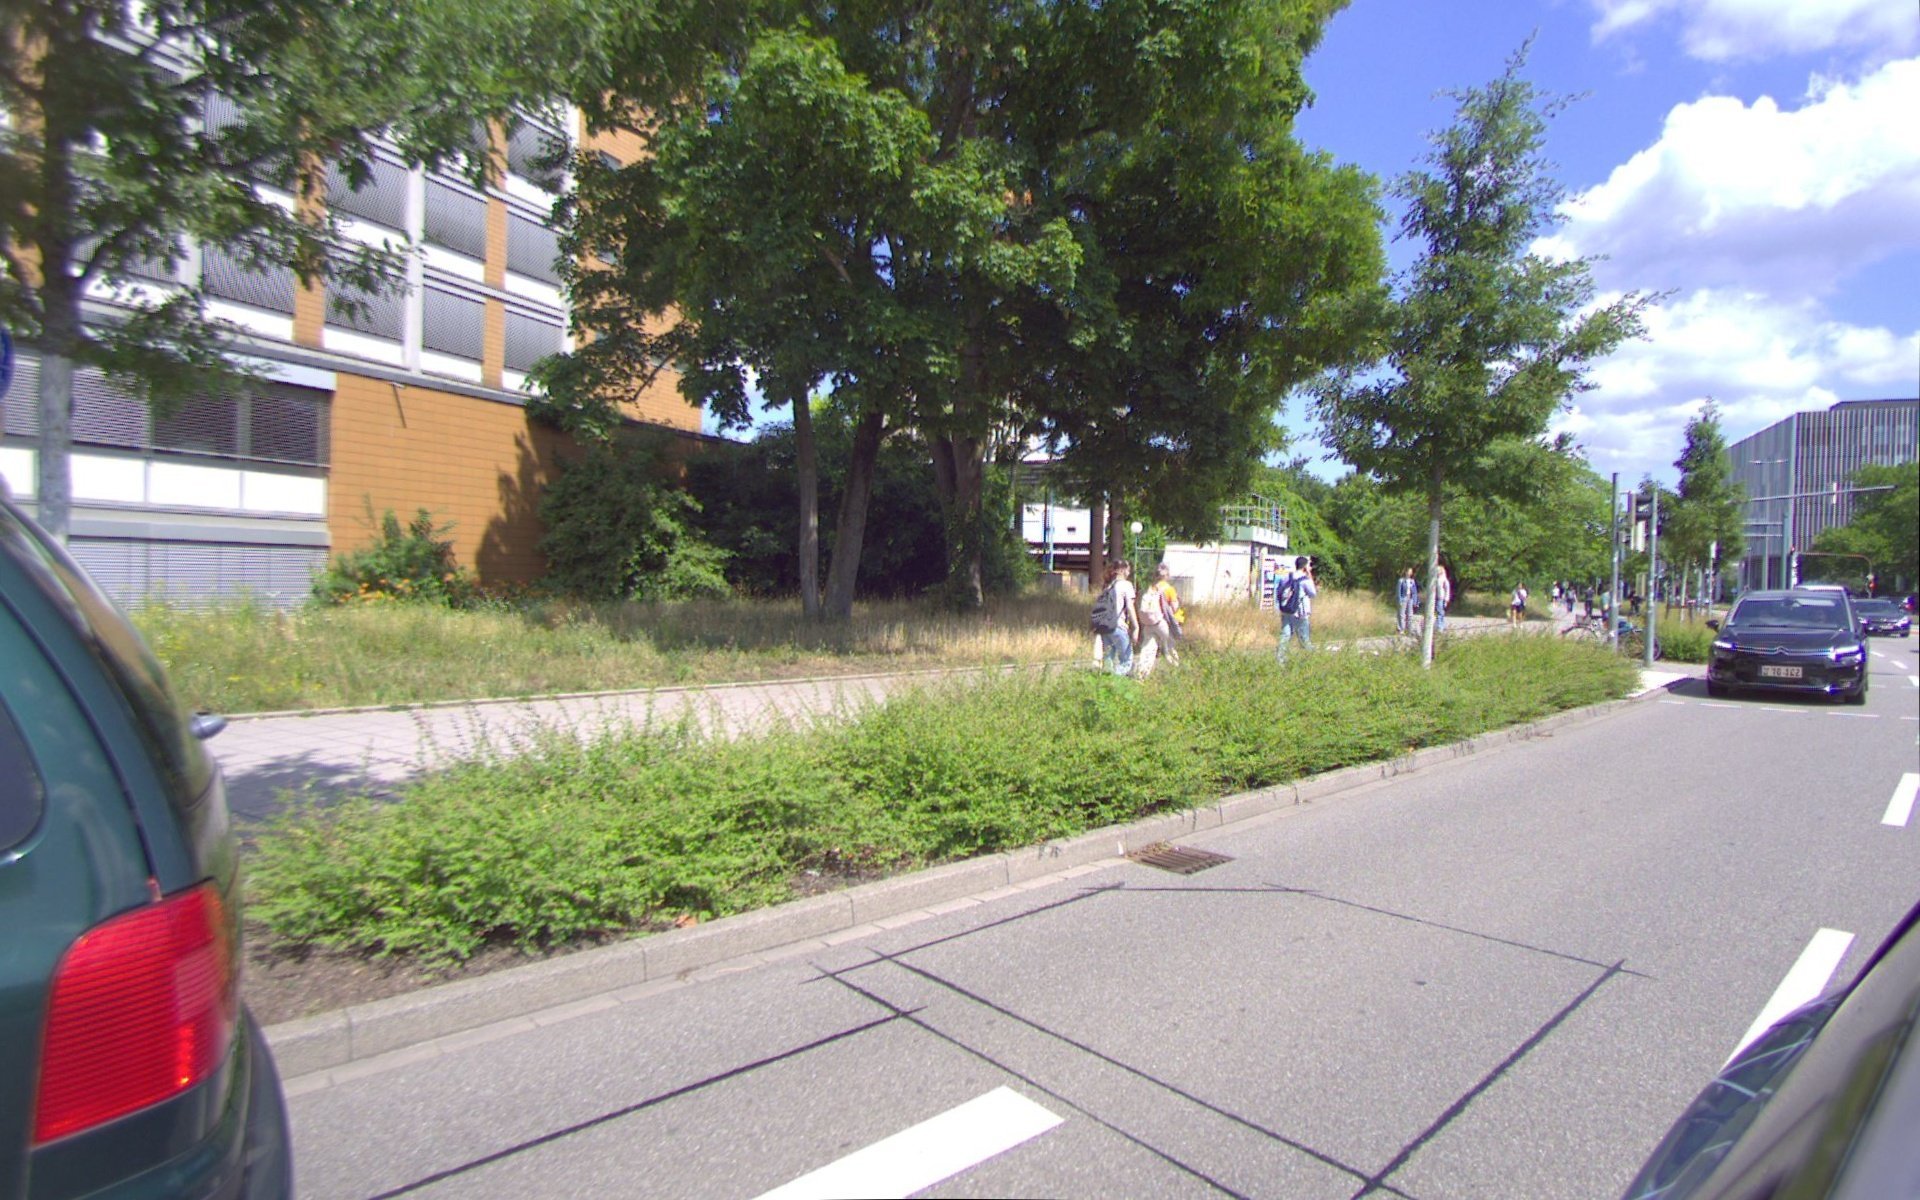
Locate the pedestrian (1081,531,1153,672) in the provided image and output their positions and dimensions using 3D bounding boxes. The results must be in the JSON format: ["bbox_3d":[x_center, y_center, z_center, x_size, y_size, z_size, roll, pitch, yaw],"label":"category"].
[{"bbox_3d":[2.129,0.010,13.726,0.754,1.844,0.629,0,1,38],"label":"pedestrian"}]

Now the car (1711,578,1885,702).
[{"bbox_3d":[13.143,0.505,15.765,1.857,1.643,4.450,1,1,43],"label":"car"}]

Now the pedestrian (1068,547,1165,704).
[{"bbox_3d":[1.731,0.256,11.188,0.760,1.645,0.652,0,4,-37],"label":"pedestrian"}]

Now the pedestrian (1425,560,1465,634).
[{"bbox_3d":[12.228,-0.083,25.509,0.748,1.824,0.601,3,2,36],"label":"pedestrian"}]

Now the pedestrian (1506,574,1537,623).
[{"bbox_3d":[19.209,-0.071,34.637,0.743,1.616,0.875,3,1,22],"label":"pedestrian"}]

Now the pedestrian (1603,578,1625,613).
[{"bbox_3d":[34.404,-0.236,53.222,0.744,1.799,0.874,3,1,24],"label":"pedestrian"}]

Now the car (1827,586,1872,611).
[{"bbox_3d":[83.252,-0.160,94.776,2.198,2.198,4.471,3,2,30],"label":"car"}]

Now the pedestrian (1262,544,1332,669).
[{"bbox_3d":[5.266,0.079,15.788,0.753,1.843,0.771,5,4,32],"label":"pedestrian"}]

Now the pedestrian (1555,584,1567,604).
[{"bbox_3d":[51.957,-0.527,87.482,0.837,1.787,0.833,0,1,29],"label":"pedestrian"}]

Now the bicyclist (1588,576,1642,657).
[{"bbox_3d":[13.749,0.335,21.254,0.826,1.620,0.572,5,4,37],"label":"bicyclist"}]

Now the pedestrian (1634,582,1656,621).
[{"bbox_3d":[31.952,0.070,47.205,0.663,1.771,0.839,3,1,29],"label":"pedestrian"}]

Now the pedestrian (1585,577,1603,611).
[{"bbox_3d":[33.469,-0.317,53.420,0.661,1.768,0.604,3,1,24],"label":"pedestrian"}]

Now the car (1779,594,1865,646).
[{"bbox_3d":[26.027,0.562,30.668,1.757,1.435,4.303,-1,0,38],"label":"car"}]

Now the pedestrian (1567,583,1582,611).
[{"bbox_3d":[40.189,-0.213,66.174,0.745,1.771,0.660,3,1,29],"label":"pedestrian"}]

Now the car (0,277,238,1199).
[{"bbox_3d":[-3.095,0.543,0.468,4.370,1.745,1.797,-1,0,-41],"label":"car"}]

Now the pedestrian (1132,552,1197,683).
[{"bbox_3d":[2.668,0.210,13.191,0.586,1.646,0.718,0,1,38],"label":"pedestrian"}]

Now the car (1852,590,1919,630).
[{"bbox_3d":[36.861,0.364,40.215,1.743,1.523,4.459,-1,0,37],"label":"car"}]

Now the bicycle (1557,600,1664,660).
[{"bbox_3d":[13.681,0.608,21.312,1.806,1.062,0.584,5,4,37],"label":"bicycle"}]

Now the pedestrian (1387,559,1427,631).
[{"bbox_3d":[11.390,-0.128,25.778,0.748,1.774,0.601,3,2,36],"label":"pedestrian"}]

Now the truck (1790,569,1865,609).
[{"bbox_3d":[53.151,-0.636,62.133,2.443,2.330,5.754,-1,0,30],"label":"truck"}]

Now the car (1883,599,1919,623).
[{"bbox_3d":[66.761,0.742,71.116,1.871,1.644,4.112,1,1,30],"label":"car"}]
